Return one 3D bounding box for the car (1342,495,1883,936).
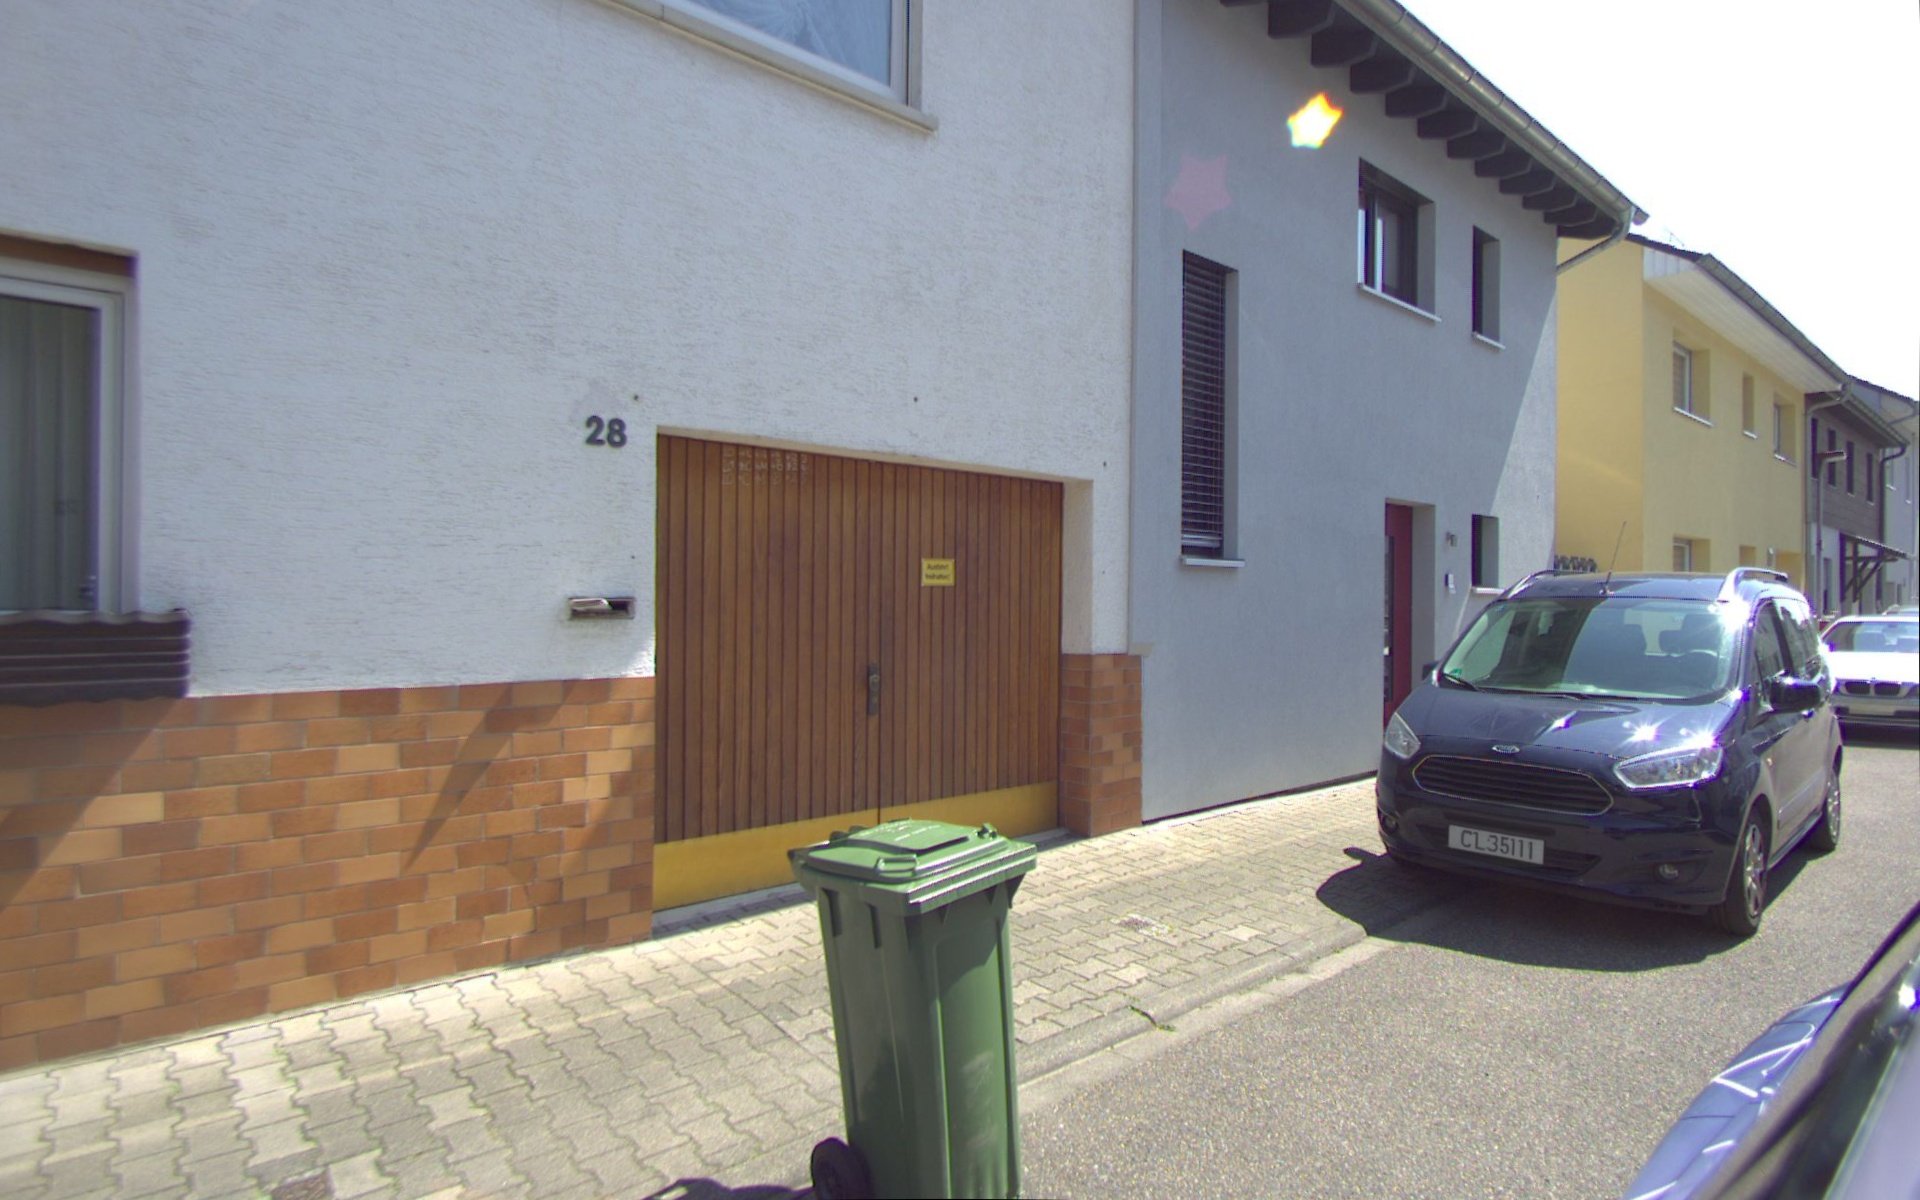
[{"bbox_3d":[4.151,0.662,6.169,4.125,1.801,1.698,6,-7,-42],"label":"car"}]

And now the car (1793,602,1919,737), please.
[{"bbox_3d":[11.900,0.774,12.616,4.174,1.432,1.665,0,1,-41],"label":"car"}]

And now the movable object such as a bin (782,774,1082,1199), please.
[{"bbox_3d":[-0.071,0.980,2.655,0.549,0.903,0.570,0,0,43],"label":"movable object such as a bin"}]

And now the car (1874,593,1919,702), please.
[{"bbox_3d":[15.823,0.694,16.012,3.895,1.604,1.681,0,0,-43],"label":"car"}]
